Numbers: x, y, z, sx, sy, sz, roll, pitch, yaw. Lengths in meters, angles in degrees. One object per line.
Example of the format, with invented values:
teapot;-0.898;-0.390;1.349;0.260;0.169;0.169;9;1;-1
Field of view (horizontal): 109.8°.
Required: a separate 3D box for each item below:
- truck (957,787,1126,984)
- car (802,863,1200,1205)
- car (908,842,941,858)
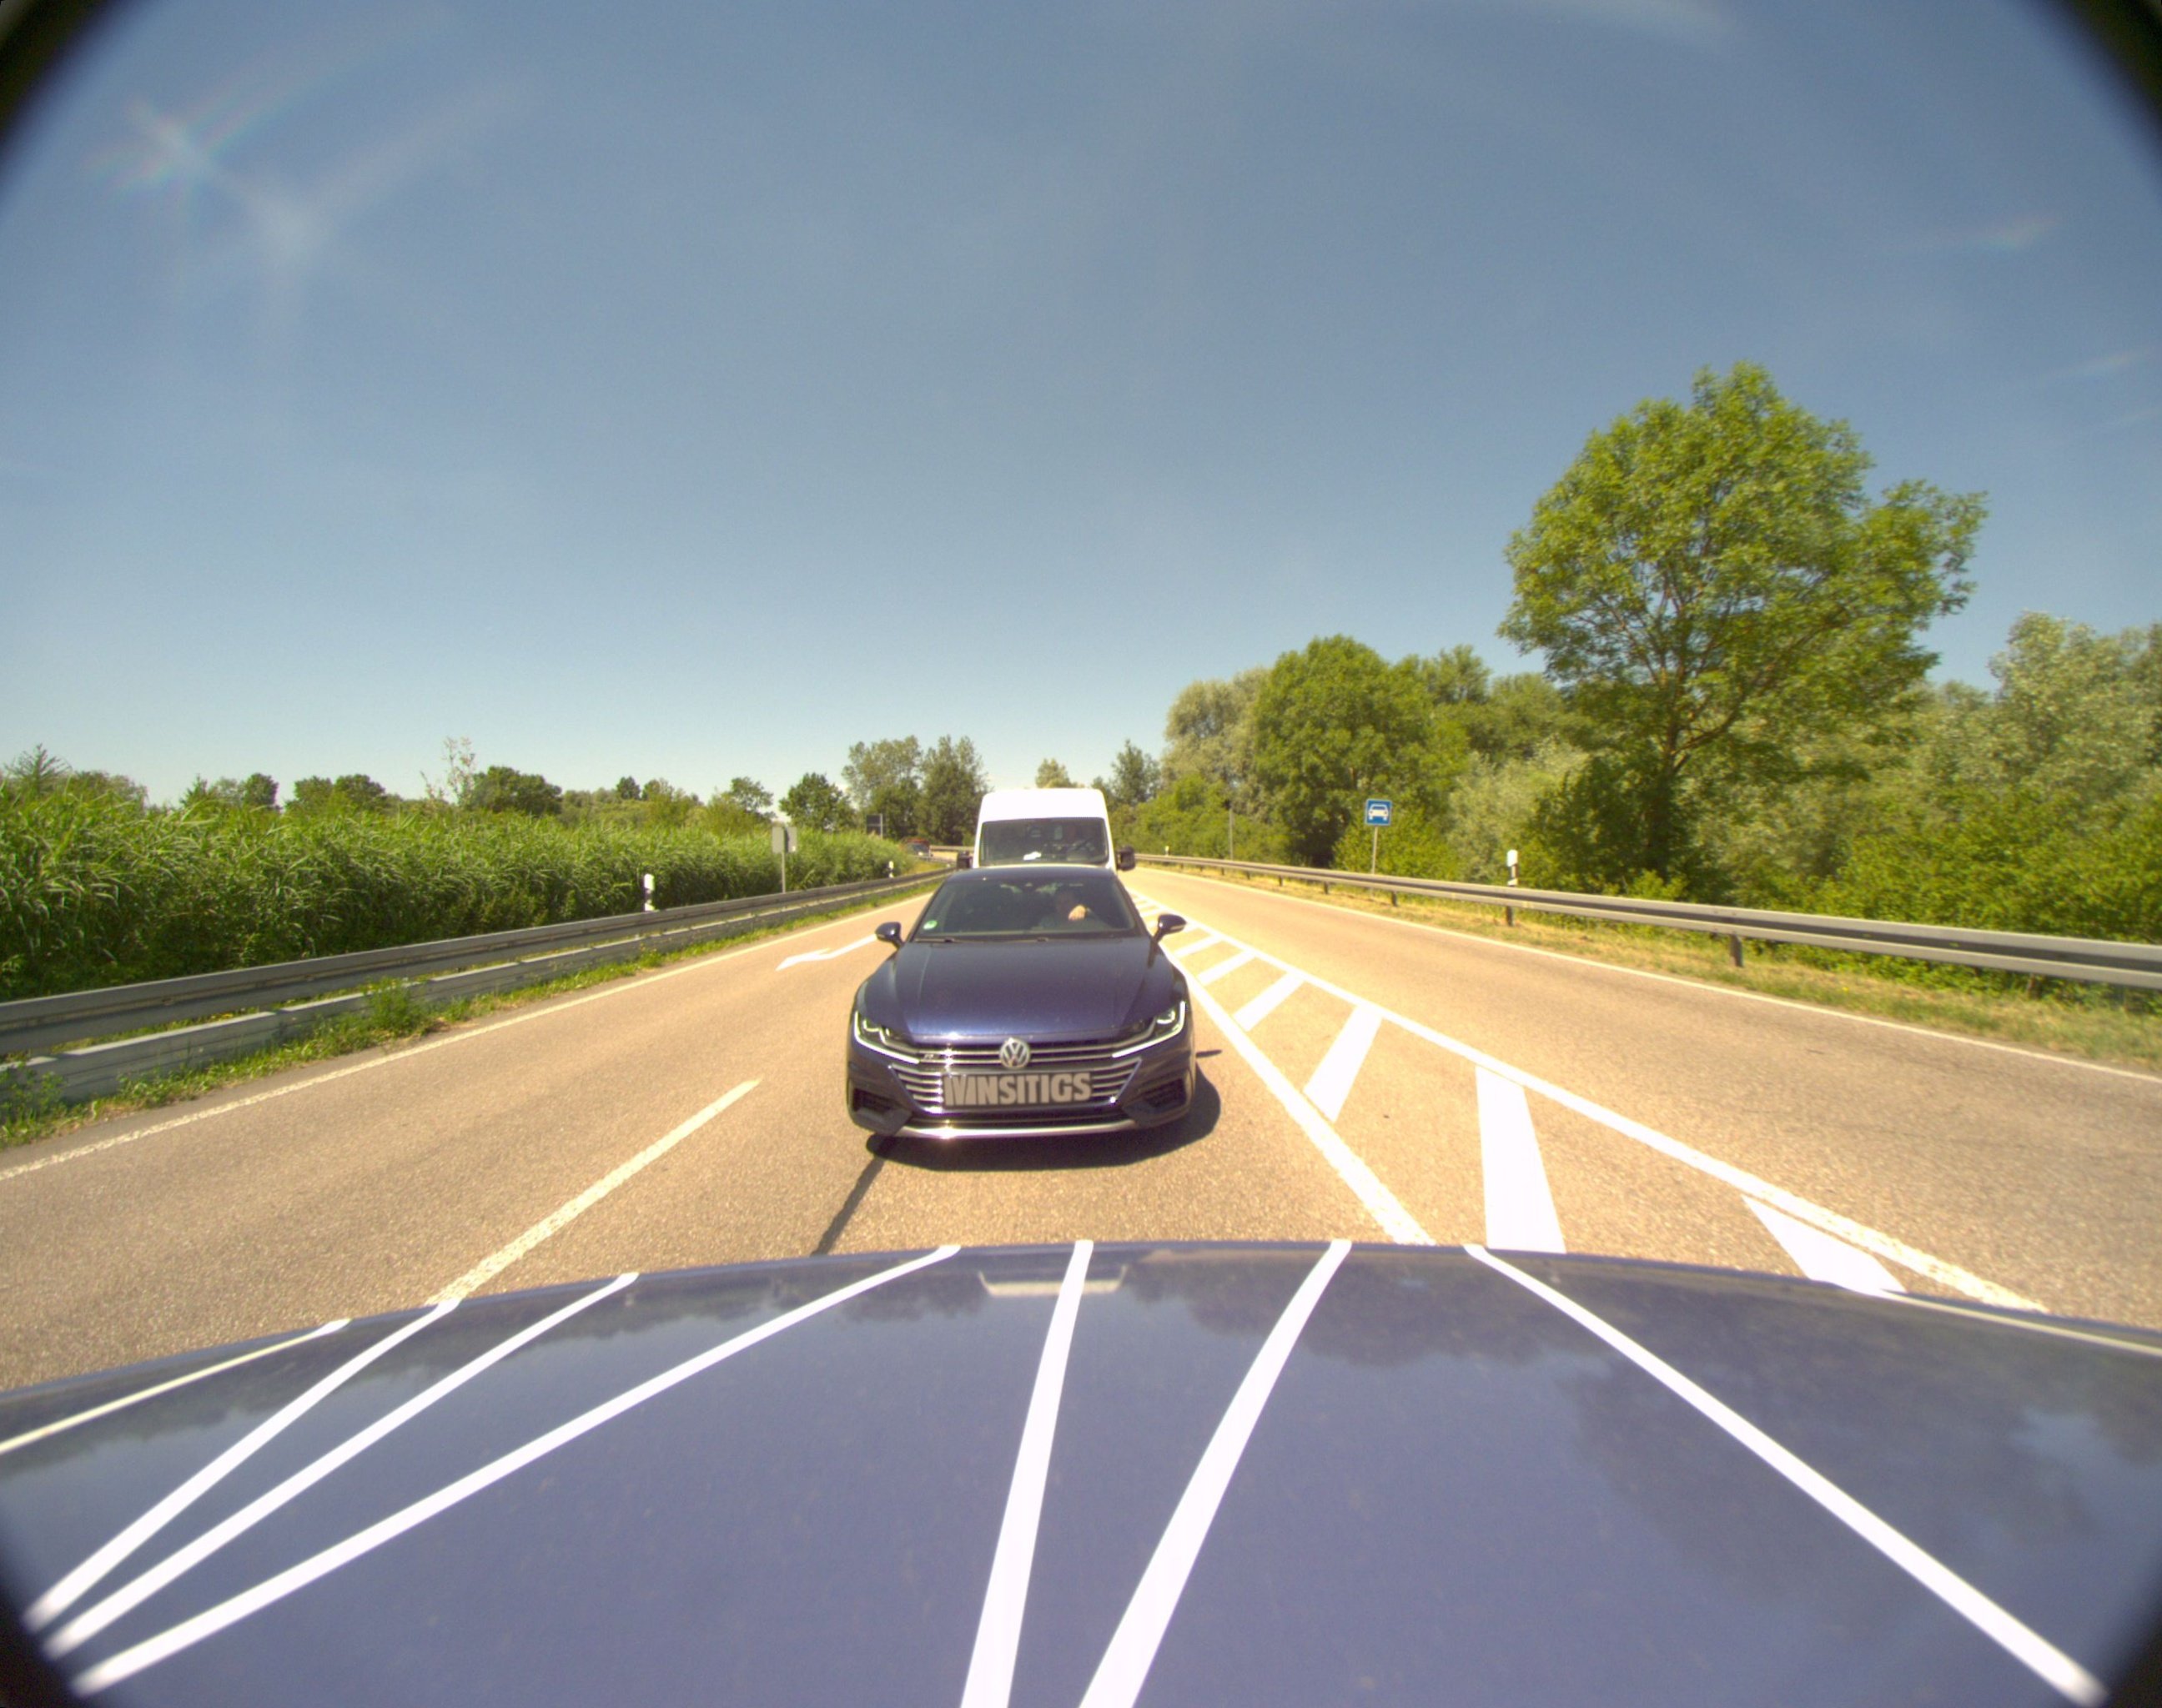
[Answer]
truck;-0.667;0.355;12.295;2.011;2.365;5.909;-2;1;-4
car;-0.347;0.875;5.760;1.819;1.454;4.415;-2;1;1
car;-16.069;-0.371;78.056;1.677;1.591;3.543;-2;2;-44
